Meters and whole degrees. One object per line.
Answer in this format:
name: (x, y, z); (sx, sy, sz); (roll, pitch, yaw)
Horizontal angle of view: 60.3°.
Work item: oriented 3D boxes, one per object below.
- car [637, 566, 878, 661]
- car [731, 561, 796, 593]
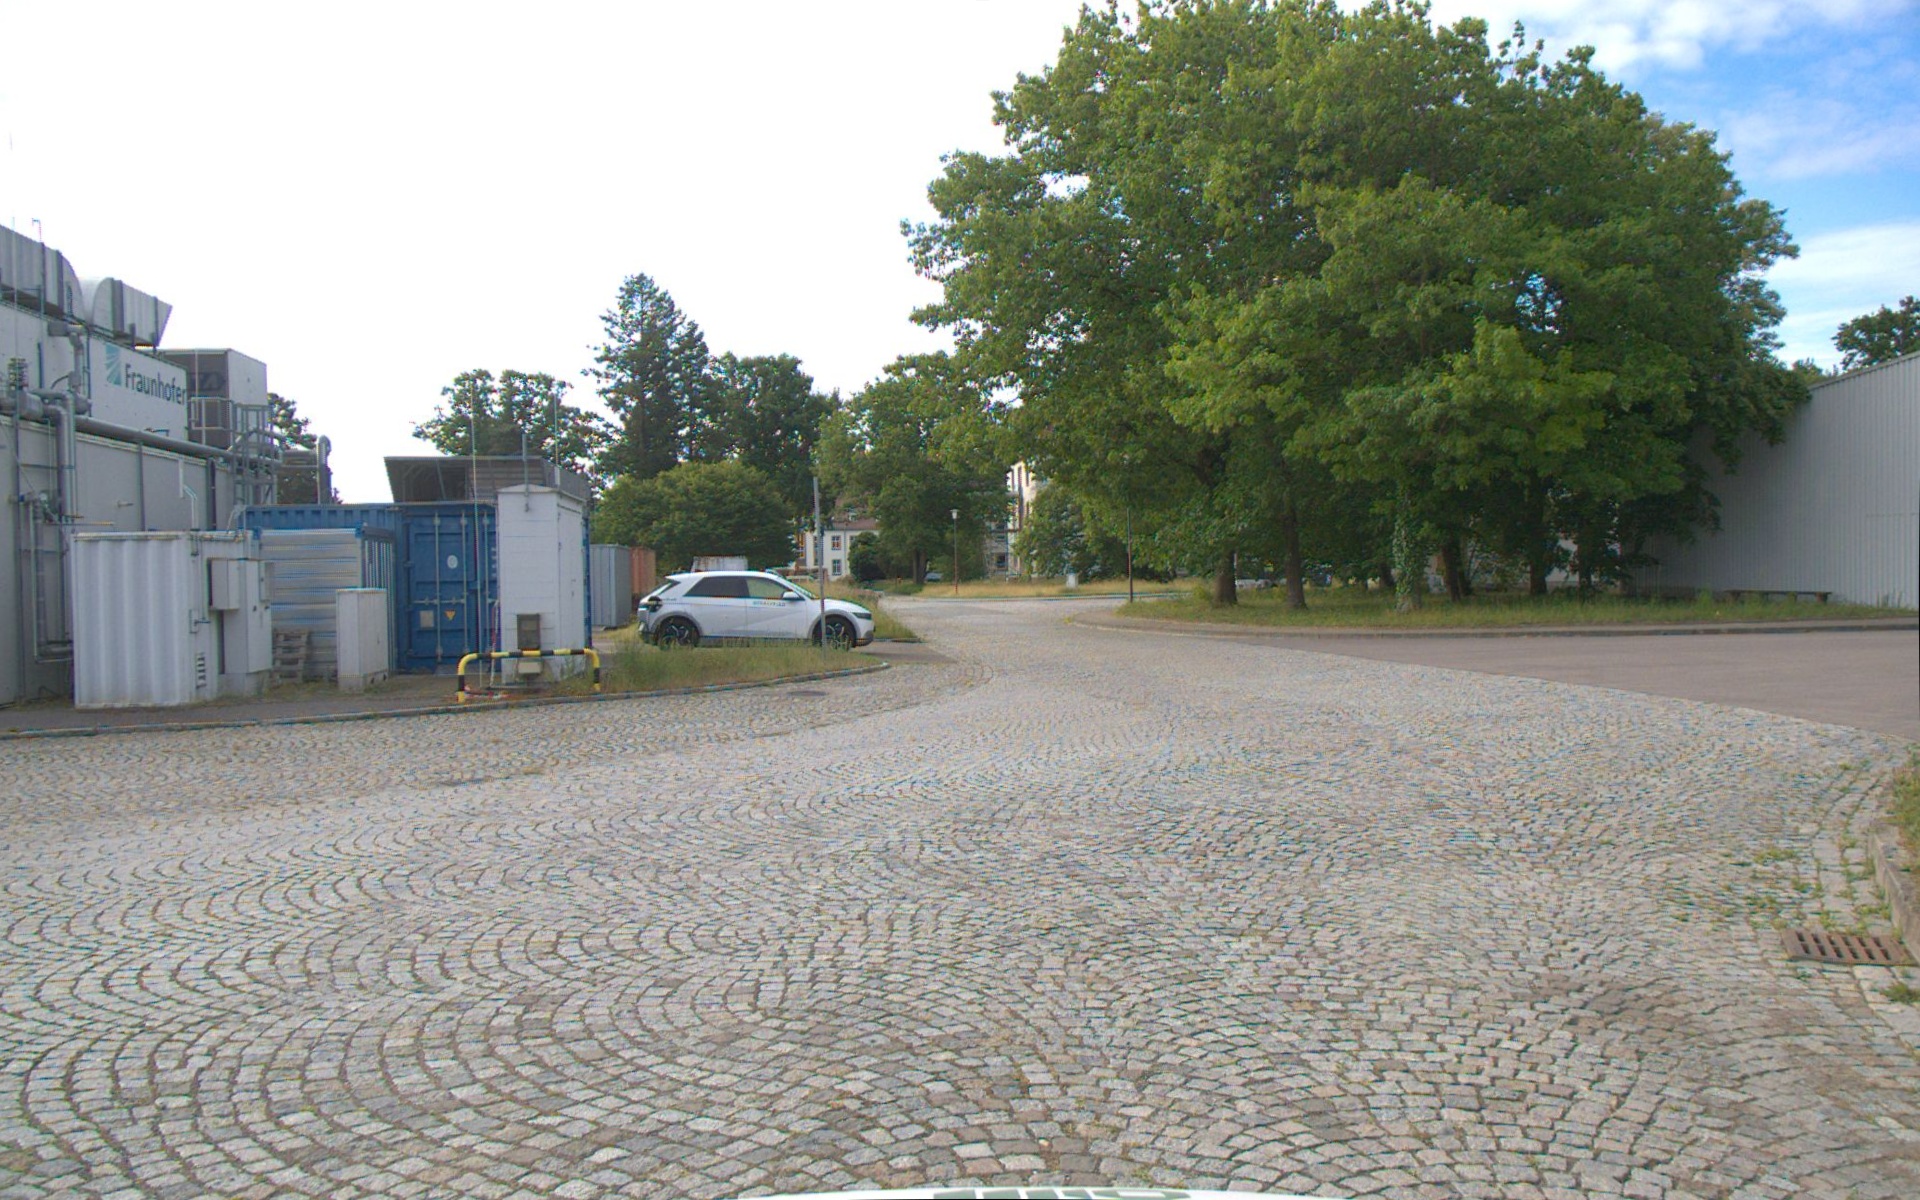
car: (-3.844, 0.232, 31.913); (4.445, 1.627, 1.998); (-2, 1, -5)
car: (-15.737, -1.866, 132.646); (5.073, 2.378, 1.997); (-2, 1, -8)
